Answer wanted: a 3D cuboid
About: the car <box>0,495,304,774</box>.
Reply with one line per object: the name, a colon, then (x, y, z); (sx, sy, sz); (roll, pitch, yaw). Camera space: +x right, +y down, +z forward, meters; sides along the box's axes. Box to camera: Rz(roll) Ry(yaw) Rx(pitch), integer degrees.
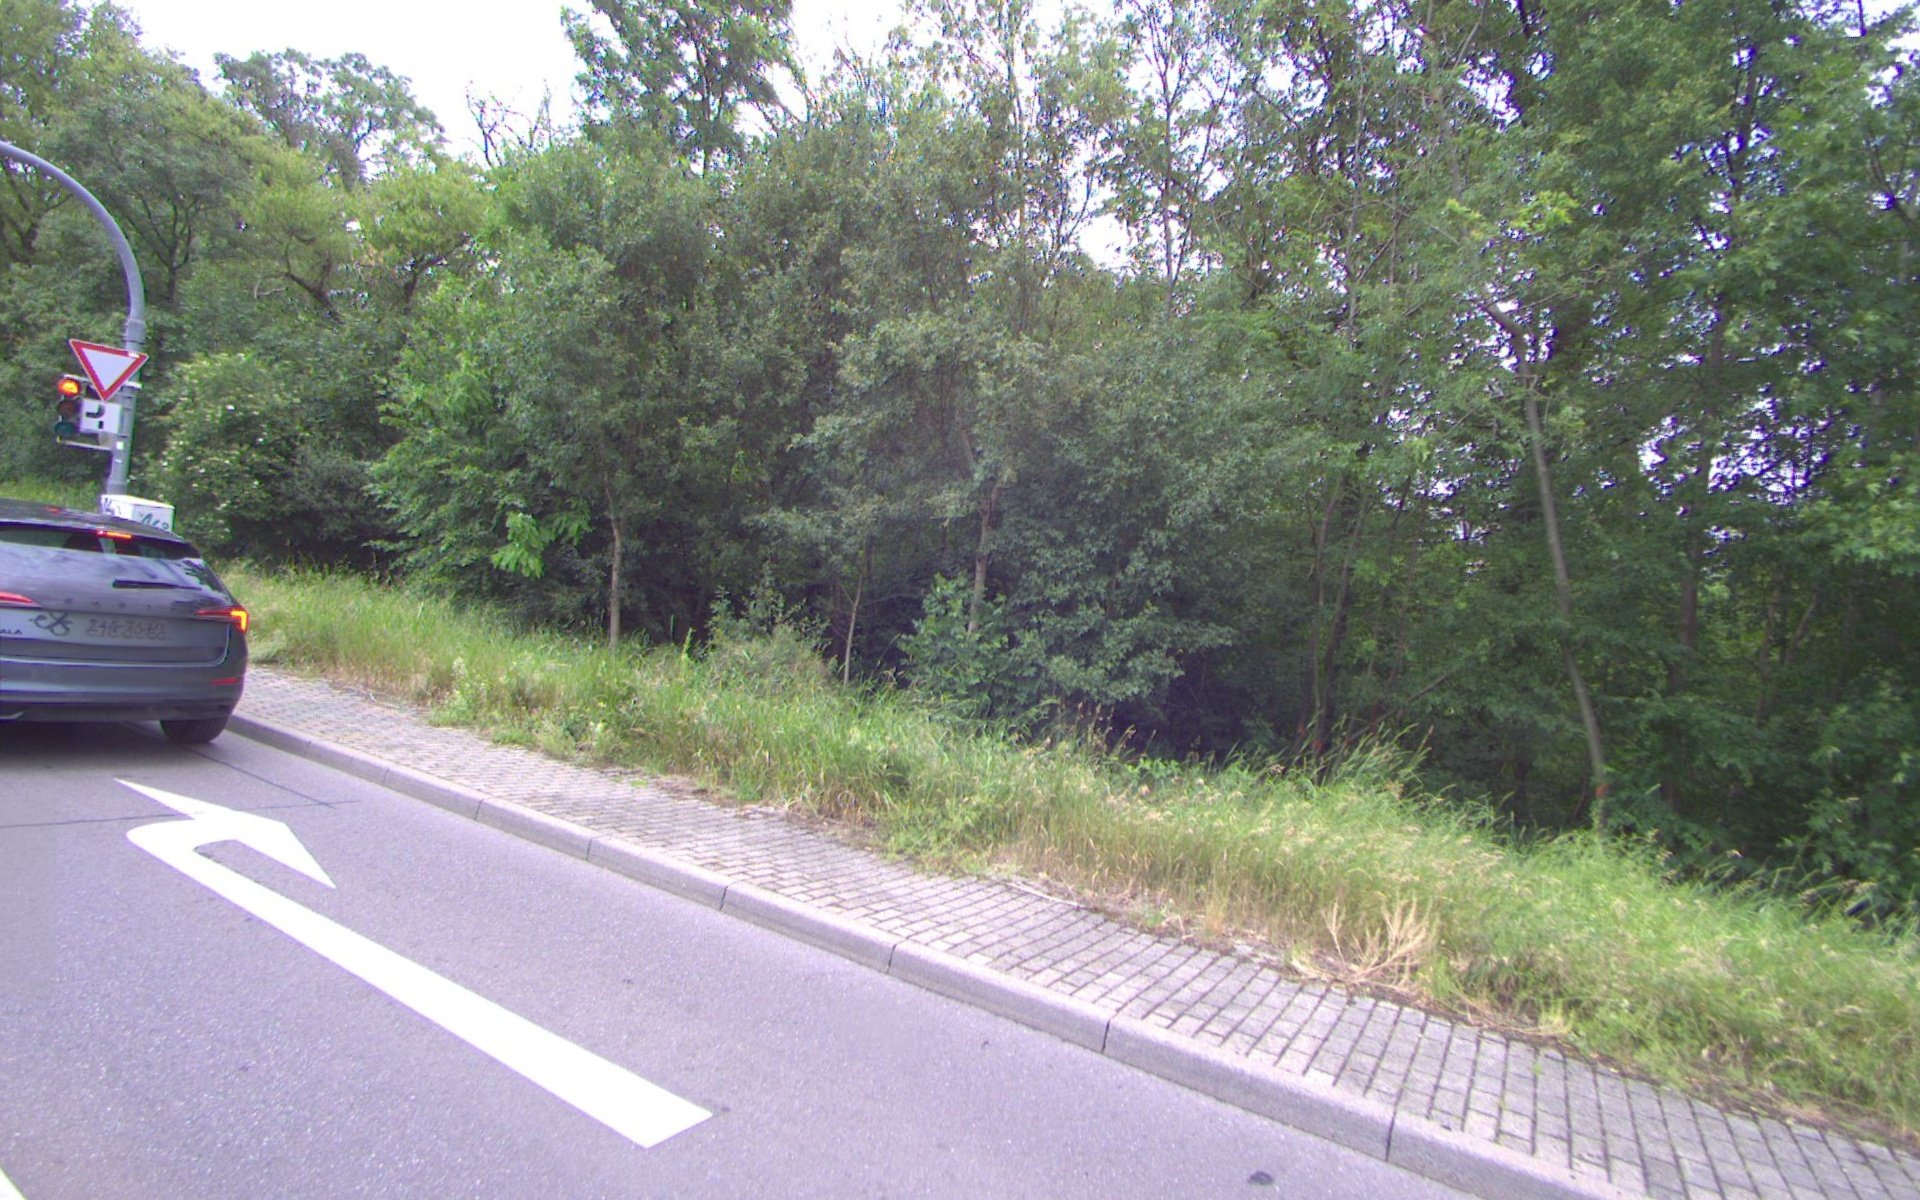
car: (-6.476, 0.037, 6.778); (3.933, 1.468, 1.796); (7, -1, 31)
